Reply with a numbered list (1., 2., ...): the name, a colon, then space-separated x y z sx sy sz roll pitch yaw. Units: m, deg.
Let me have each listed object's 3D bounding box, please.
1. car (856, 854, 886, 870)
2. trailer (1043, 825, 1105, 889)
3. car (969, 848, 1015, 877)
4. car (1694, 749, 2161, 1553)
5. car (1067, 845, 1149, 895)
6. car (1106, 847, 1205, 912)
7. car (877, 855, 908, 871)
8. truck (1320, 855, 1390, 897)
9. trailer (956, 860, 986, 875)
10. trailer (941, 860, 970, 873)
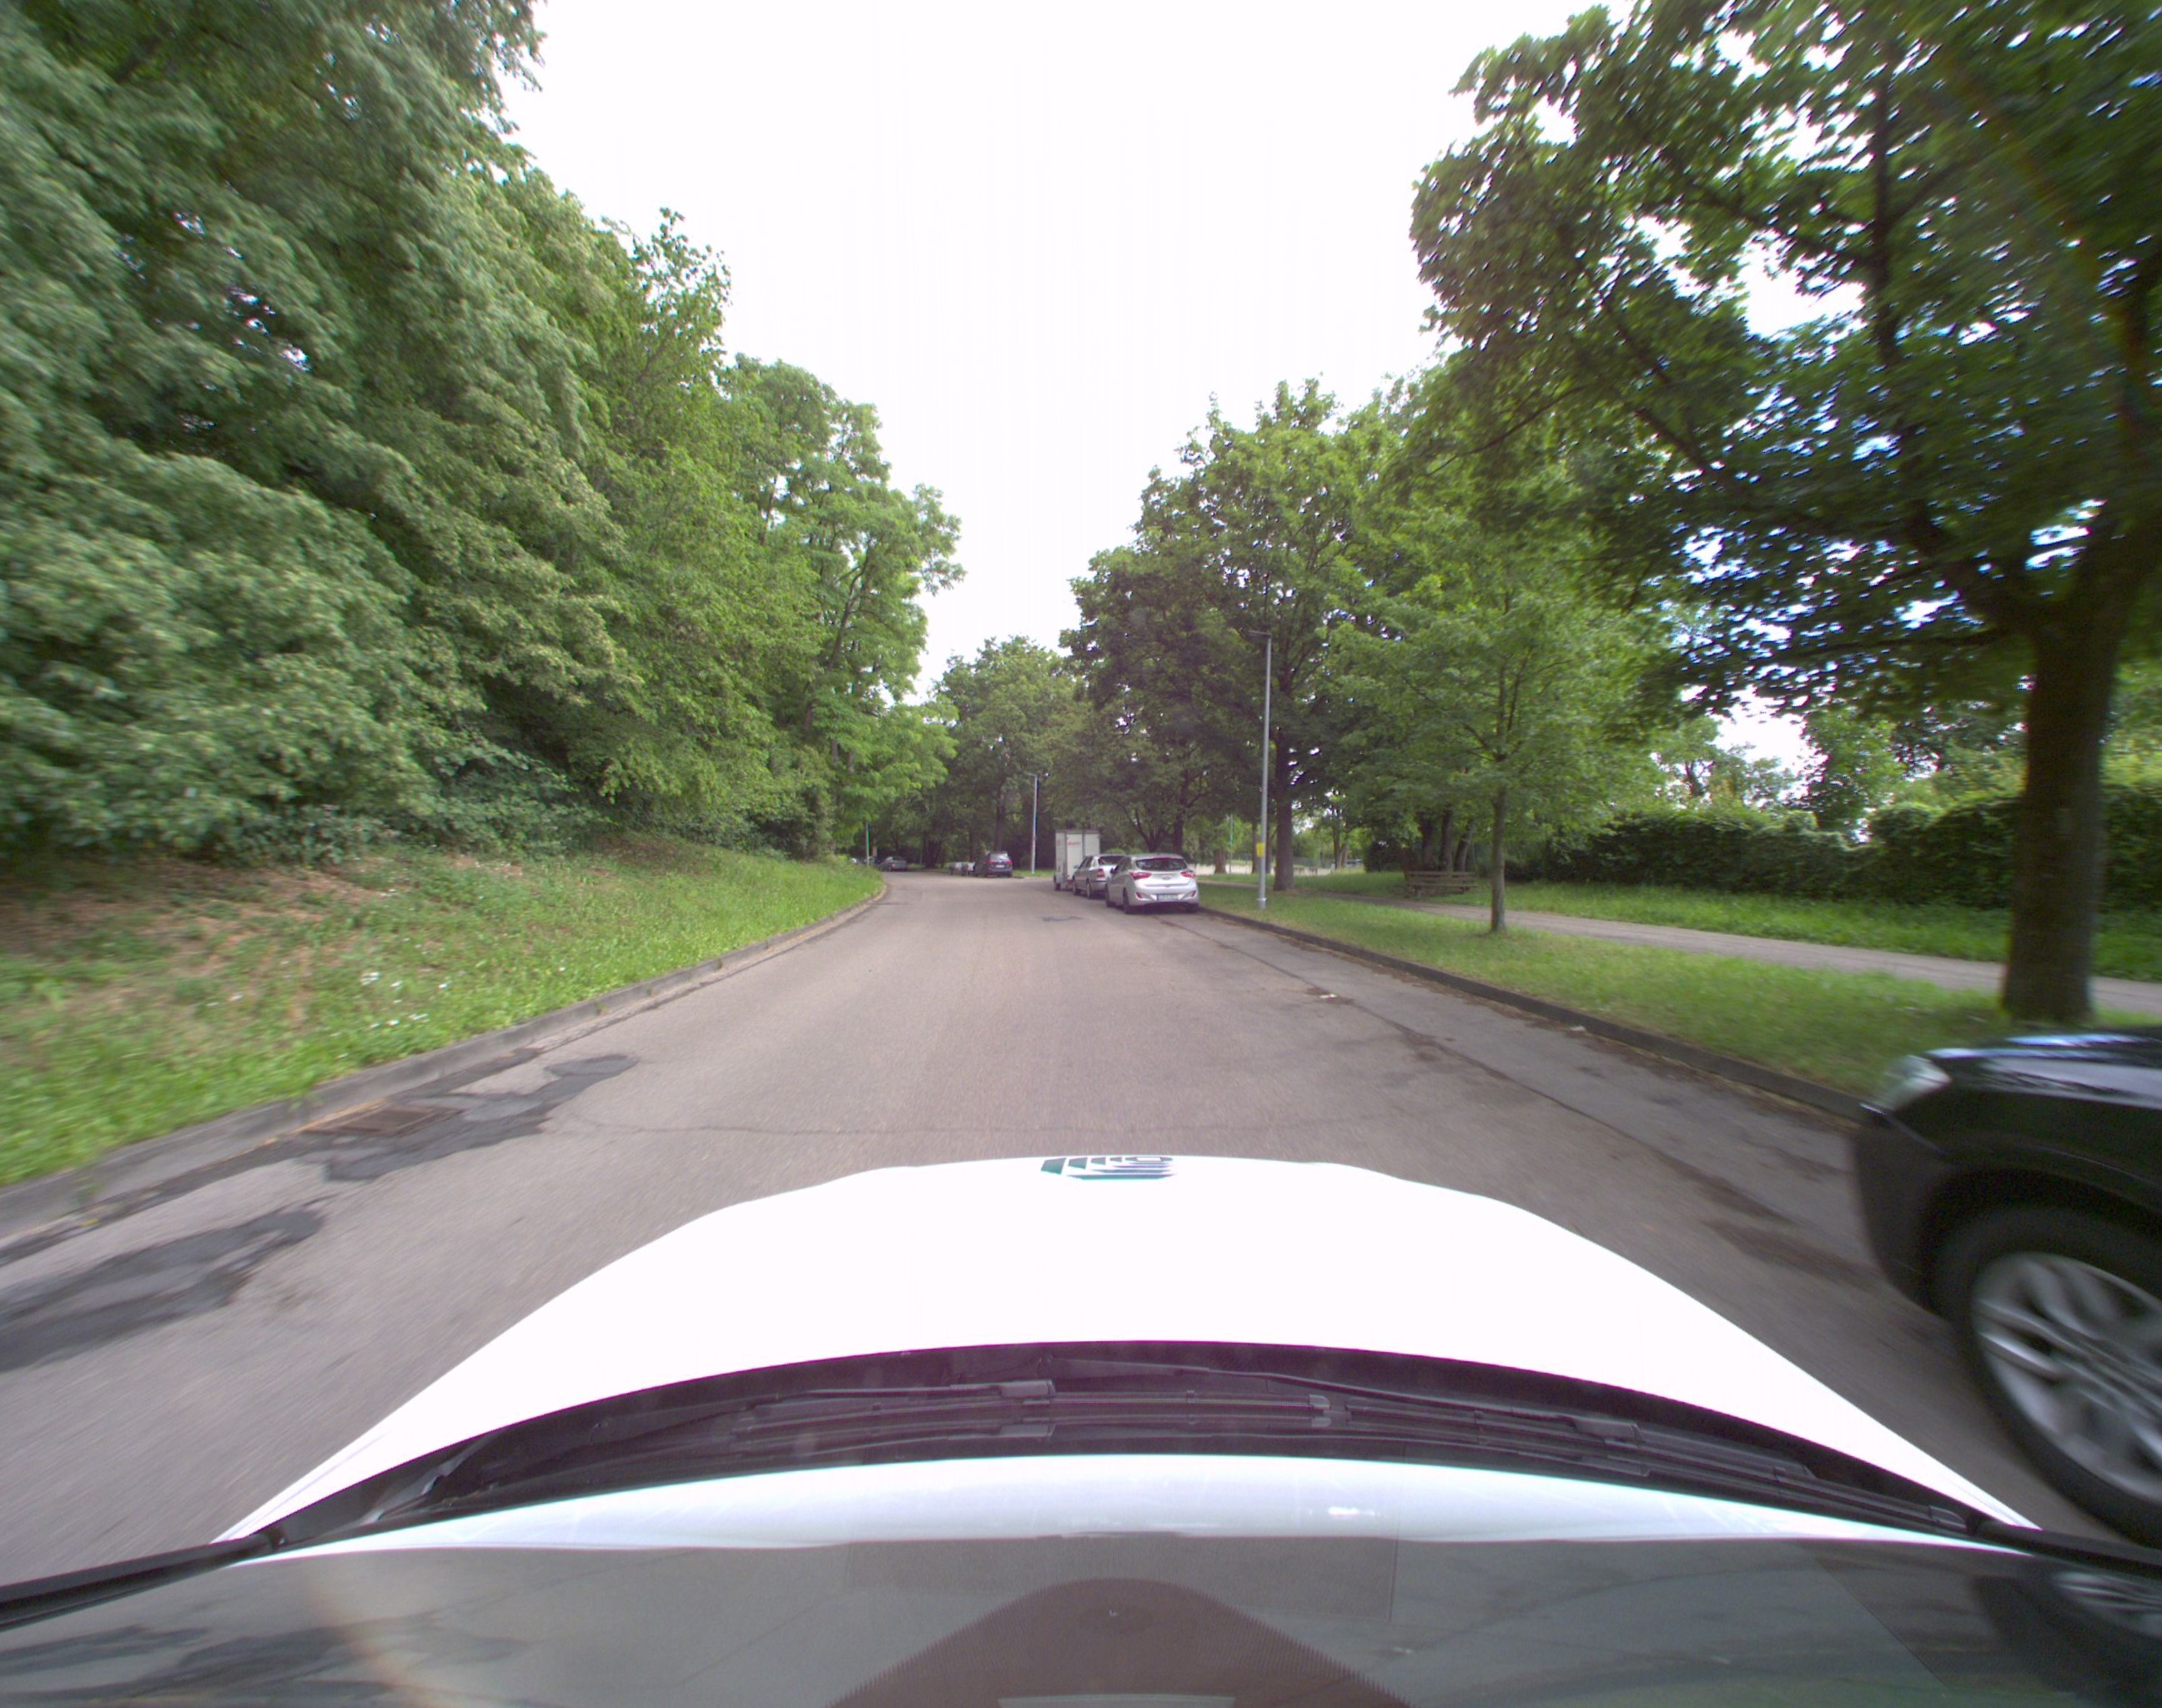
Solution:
1. car: -21.361 0.805 82.816 1.726 1.510 4.137 3 -3 -33
2. trailer: -0.361 0.106 32.926 1.762 2.427 3.871 -1 0 -12
3. car: -5.656 0.539 51.322 1.781 1.663 4.808 2 -1 -19
4. car: 3.145 0.603 0.662 1.843 1.643 4.528 0 0 -1
5. car: 0.813 0.515 27.655 1.742 1.525 4.617 -1 0 -11
6. car: 1.800 0.602 20.994 1.898 1.476 4.053 1 0 -4
7. car: -17.848 0.879 77.081 1.729 1.431 3.909 -1 -1 -32
8. truck: 27.447 2.273 81.171 2.664 3.998 9.626 -1 -3 45
9. trailer: -7.723 0.945 57.017 1.361 0.969 3.869 2 0 -18
10. trailer: -9.465 0.964 61.453 1.369 0.848 3.253 2 -2 -23
